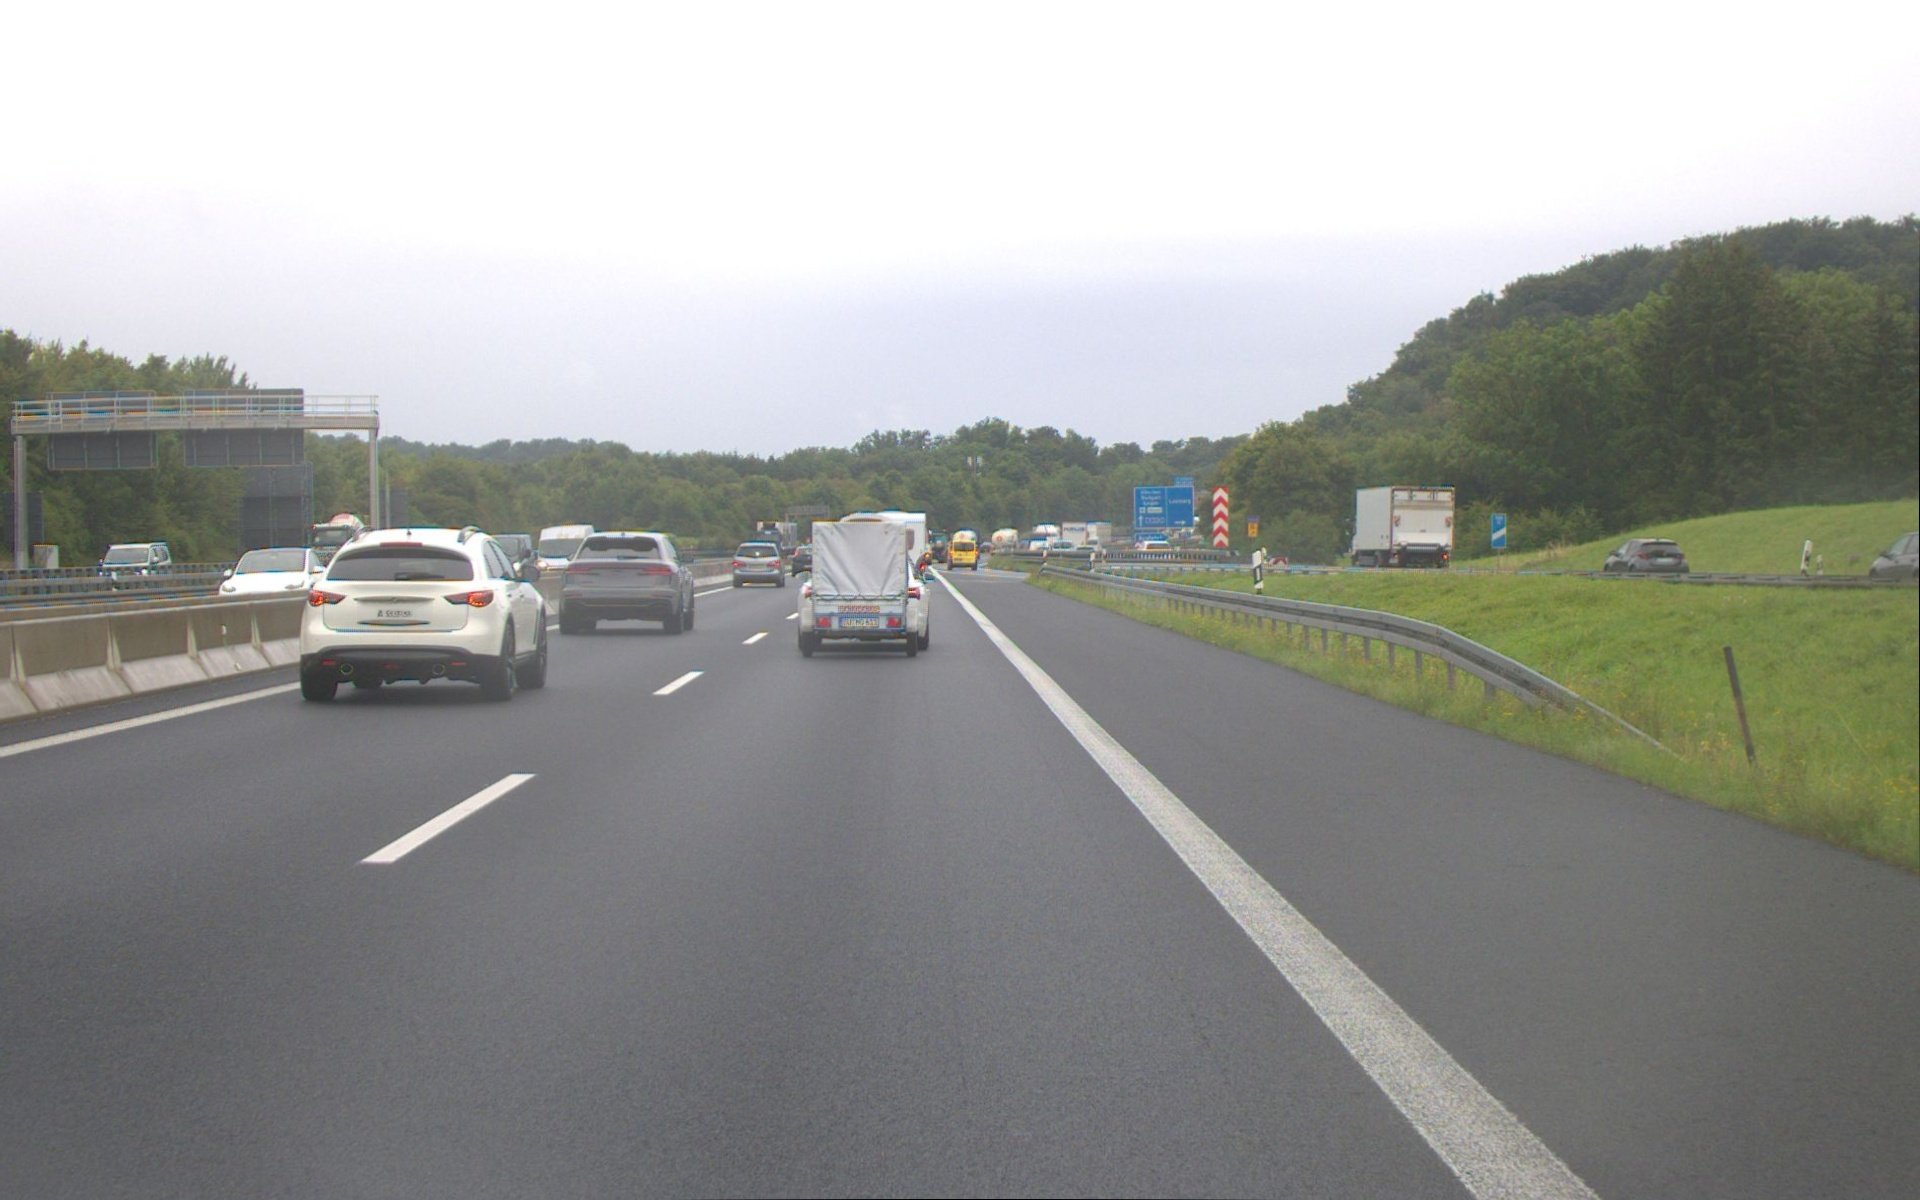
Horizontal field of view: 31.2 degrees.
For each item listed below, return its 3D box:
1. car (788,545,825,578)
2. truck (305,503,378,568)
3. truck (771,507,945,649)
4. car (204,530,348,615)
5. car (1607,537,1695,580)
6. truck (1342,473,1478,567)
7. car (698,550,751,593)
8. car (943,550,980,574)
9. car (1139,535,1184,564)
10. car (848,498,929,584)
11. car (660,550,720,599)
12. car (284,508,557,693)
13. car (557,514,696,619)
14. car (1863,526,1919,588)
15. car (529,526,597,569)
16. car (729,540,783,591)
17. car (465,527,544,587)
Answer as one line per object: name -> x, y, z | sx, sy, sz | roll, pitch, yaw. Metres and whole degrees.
car -> -7.393, -1.854, 165.917 | 1.645, 1.568, 4.000 | 1, 1, 0
truck -> -35.604, -3.721, 198.109 | 2.685, 3.648, 9.559 | -1, 1, -2
truck -> -1.414, -0.348, 47.912 | 2.242, 1.833, 6.585 | 0, 1, -2
car -> -14.684, -0.618, 74.062 | 2.156, 1.759, 4.961 | 0, 1, -1
car -> 21.827, -1.314, 108.689 | 1.696, 1.284, 3.536 | 1, 1, -7
truck -> 18.353, -3.240, 140.859 | 3.824, 3.646, 8.273 | 1, 1, -4
car -> -9.180, -1.126, 134.358 | 1.819, 1.656, 4.017 | 0, 1, 0
car -> 0.100, -2.516, 228.641 | 1.993, 1.546, 4.001 | 1, 1, -6
car -> 11.194, -2.788, 191.063 | 1.993, 1.546, 4.001 | 1, 1, -4
car -> -2.367, -1.907, 112.076 | 2.331, 2.716, 6.541 | 0, 1, -4
car -> -9.511, -0.909, 121.380 | 1.819, 1.656, 4.017 | 0, 1, 0
car -> -5.195, -0.036, 33.690 | 2.048, 1.665, 4.541 | 1, 1, -1
car -> -5.638, -0.586, 58.572 | 1.975, 1.697, 4.803 | 1, 1, -1
car -> 20.431, -0.890, 72.399 | 1.539, 1.284, 3.536 | 1, 1, -7
car -> -15.976, -2.129, 138.625 | 2.357, 1.687, 5.907 | -1, 1, -3
car -> -7.291, -1.252, 123.236 | 1.738, 1.787, 4.000 | 1, 1, -1
car -> -14.281, -1.368, 108.090 | 1.993, 1.830, 4.680 | 1, 1, -2
